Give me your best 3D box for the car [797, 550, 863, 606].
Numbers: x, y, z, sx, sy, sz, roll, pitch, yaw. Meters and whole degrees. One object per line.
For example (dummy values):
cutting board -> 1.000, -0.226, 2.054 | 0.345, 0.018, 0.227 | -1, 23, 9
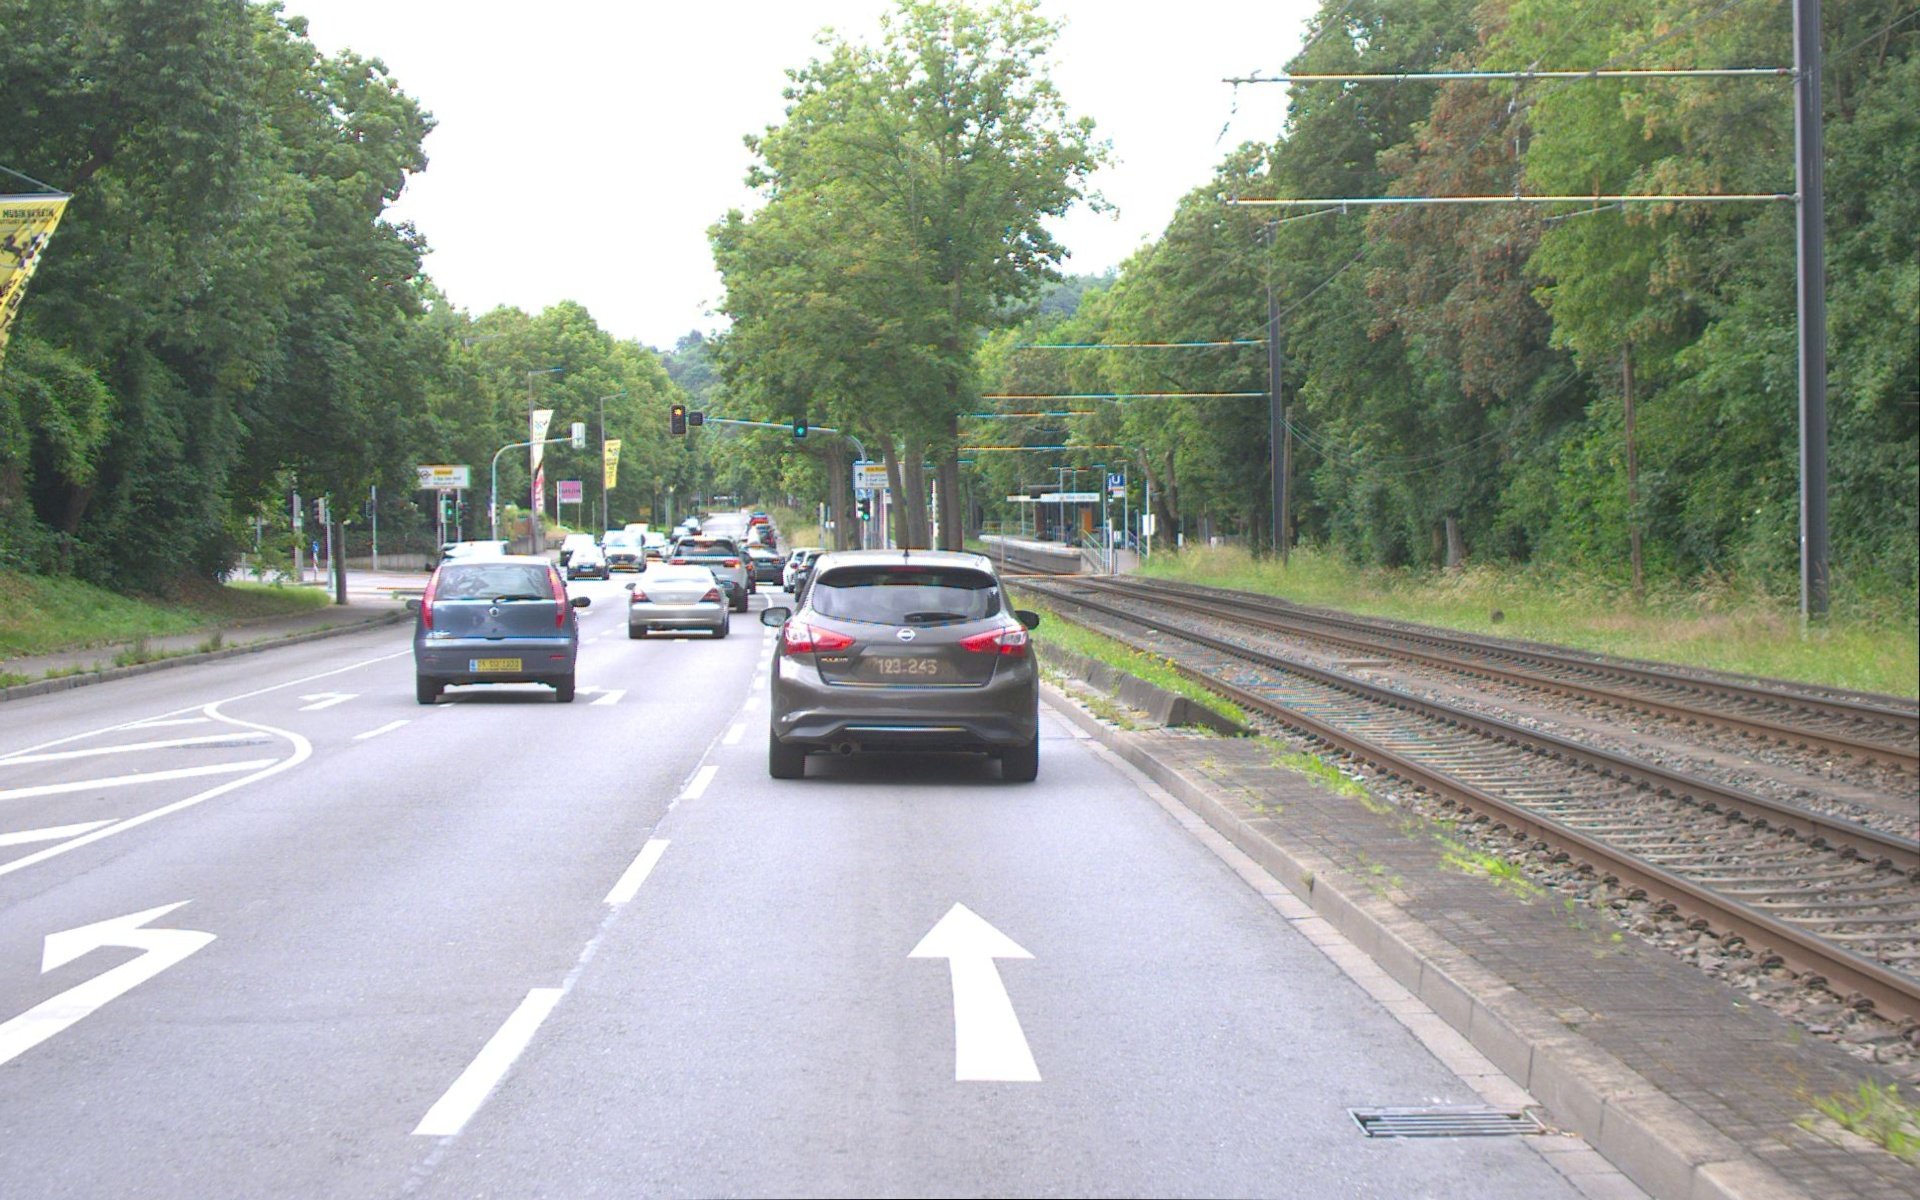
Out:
car -> -3.637, -0.618, 96.808 | 1.715, 1.545, 4.000 | 0, 0, 0

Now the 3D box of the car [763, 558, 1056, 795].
car -> -0.317, 0.462, 23.803 | 1.850, 1.488, 4.000 | 0, 1, 0

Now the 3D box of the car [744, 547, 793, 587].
car -> -7.475, -1.287, 134.302 | 1.715, 1.545, 4.000 | 0, 0, 0

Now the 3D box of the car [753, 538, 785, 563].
car -> -11.677, -3.027, 210.268 | 1.715, 1.545, 4.000 | 0, 0, 0

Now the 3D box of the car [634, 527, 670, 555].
car -> -17.692, -3.367, 197.351 | 1.715, 1.545, 4.000 | 0, 0, 0

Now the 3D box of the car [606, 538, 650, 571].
car -> -15.935, -2.173, 164.964 | 1.715, 1.545, 4.000 | 0, 0, 0

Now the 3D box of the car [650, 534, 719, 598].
car -> -8.065, -0.999, 101.055 | 1.715, 1.857, 4.000 | 0, 0, 0

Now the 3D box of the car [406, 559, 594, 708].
car -> -4.731, 0.306, 35.799 | 1.699, 1.438, 4.001 | 0, 1, -4

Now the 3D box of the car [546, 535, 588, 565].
car -> -20.665, -2.617, 180.922 | 1.715, 1.545, 4.000 | 0, 0, 0

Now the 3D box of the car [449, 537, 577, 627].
car -> -7.317, -0.307, 56.616 | 1.715, 1.430, 4.000 | 0, 0, -2

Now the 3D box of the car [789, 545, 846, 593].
car -> -4.689, -1.016, 113.342 | 1.715, 1.545, 4.000 | 0, 0, 0

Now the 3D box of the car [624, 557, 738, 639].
car -> -4.961, -0.050, 61.596 | 1.715, 1.430, 4.000 | 0, 0, 0

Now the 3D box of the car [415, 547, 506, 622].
car -> -11.914, -0.371, 82.131 | 1.715, 1.754, 4.000 | 0, 0, -2

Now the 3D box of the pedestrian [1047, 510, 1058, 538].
pedestrian -> 5.545, -4.556, 205.691 | 0.648, 1.655, 0.650 | 0, 1, -1

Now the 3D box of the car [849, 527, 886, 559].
car -> -4.534, -2.786, 168.527 | 1.715, 1.545, 4.000 | 0, 0, 0

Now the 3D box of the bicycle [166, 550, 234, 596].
bicycle -> -18.230, -0.653, 82.525 | 0.499, 1.104, 1.797 | 0, 1, 31

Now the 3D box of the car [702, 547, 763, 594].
car -> -7.347, -0.972, 111.399 | 1.794, 1.505, 4.000 | 0, 1, -1

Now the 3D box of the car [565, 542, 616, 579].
car -> -15.640, -1.661, 145.632 | 1.715, 1.545, 4.000 | 0, 0, 0

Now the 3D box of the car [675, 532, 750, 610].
car -> -6.016, -0.701, 83.792 | 1.715, 1.857, 4.000 | 0, 0, -3

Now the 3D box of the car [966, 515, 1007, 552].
car -> 1.220, -3.029, 157.240 | 1.715, 1.657, 3.708 | 0, 0, -2
